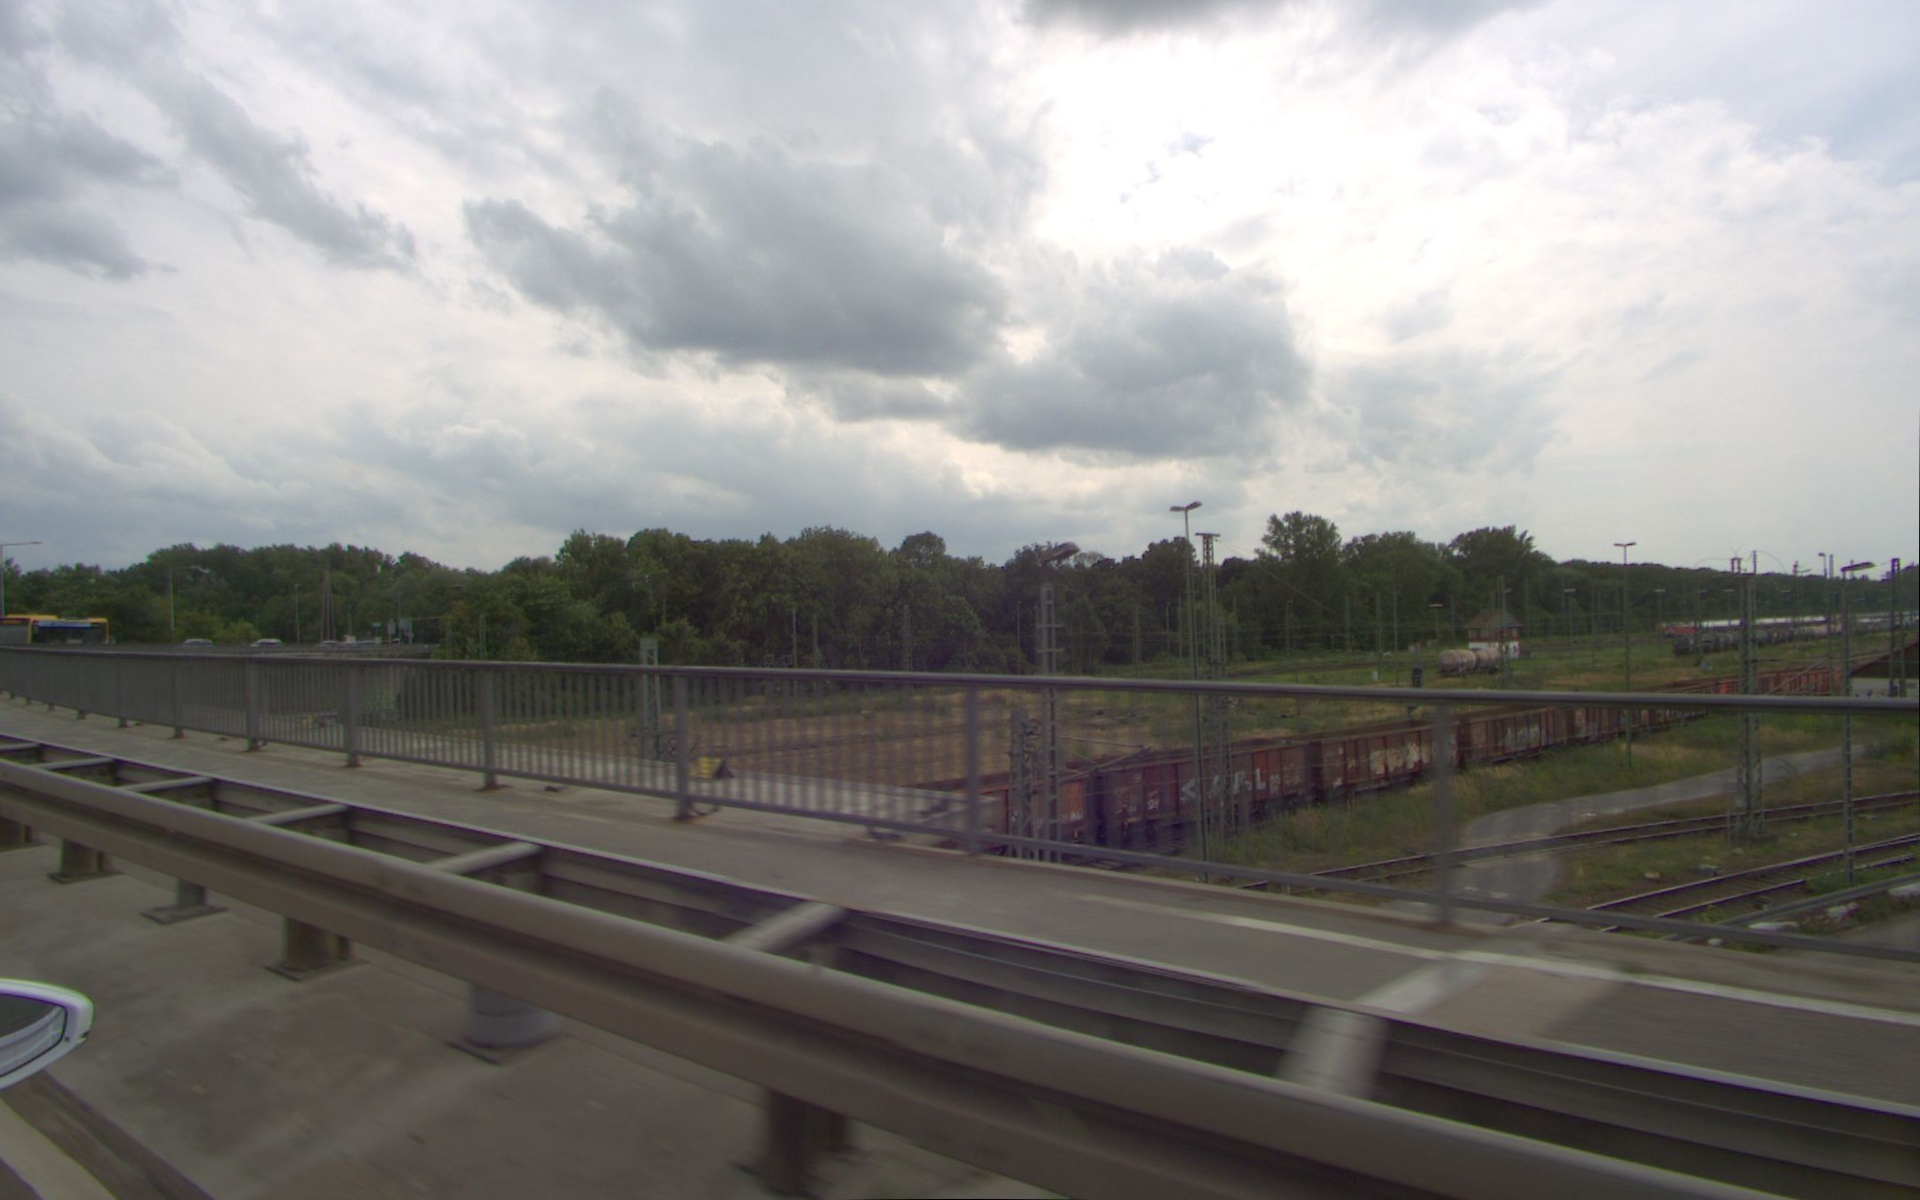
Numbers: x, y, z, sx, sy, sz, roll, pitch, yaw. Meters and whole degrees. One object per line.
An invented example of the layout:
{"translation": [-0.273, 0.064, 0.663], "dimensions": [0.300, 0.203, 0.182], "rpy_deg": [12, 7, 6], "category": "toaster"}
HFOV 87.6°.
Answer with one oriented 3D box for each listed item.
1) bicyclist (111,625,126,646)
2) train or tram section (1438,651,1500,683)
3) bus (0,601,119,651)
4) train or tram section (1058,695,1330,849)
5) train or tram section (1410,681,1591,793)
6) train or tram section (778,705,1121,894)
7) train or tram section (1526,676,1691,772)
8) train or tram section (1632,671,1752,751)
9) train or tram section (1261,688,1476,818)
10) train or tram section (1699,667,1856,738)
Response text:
{"translation": [-75.358, 3.167, 89.683], "dimensions": [0.838, 1.831, 0.793], "rpy_deg": [1, -2, -27], "category": "bicyclist"}
{"translation": [71.551, 9.375, 140.574], "dimensions": [11.254, 4.221, 3.229], "rpy_deg": [2, -3, -38], "category": "train or tram section"}
{"translation": [-64.870, 1.949, 71.844], "dimensions": [2.992, 3.274, 12.918], "rpy_deg": [1, -3, -22], "category": "bus"}
{"translation": [11.142, 7.518, 46.279], "dimensions": [14.073, 5.669, 3.637], "rpy_deg": [1, -2, -34], "category": "train or tram section"}
{"translation": [33.812, 8.167, 62.200], "dimensions": [14.834, 5.748, 3.950], "rpy_deg": [2, -2, -37], "category": "train or tram section"}
{"translation": [-0.058, 7.255, 38.831], "dimensions": [13.470, 5.644, 3.632], "rpy_deg": [1, -2, -33], "category": "train or tram section"}
{"translation": [46.967, 8.564, 72.043], "dimensions": [18.055, 5.713, 3.933], "rpy_deg": [2, -2, -37], "category": "train or tram section"}
{"translation": [60.305, 8.832, 82.223], "dimensions": [15.381, 5.695, 3.776], "rpy_deg": [2, -2, -38], "category": "train or tram section"}
{"translation": [22.195, 7.861, 53.865], "dimensions": [13.732, 5.749, 3.820], "rpy_deg": [1, -2, -35], "category": "train or tram section"}
{"translation": [76.996, 9.282, 93.757], "dimensions": [25.354, 5.549, 3.970], "rpy_deg": [1, -2, -33], "category": "train or tram section"}
